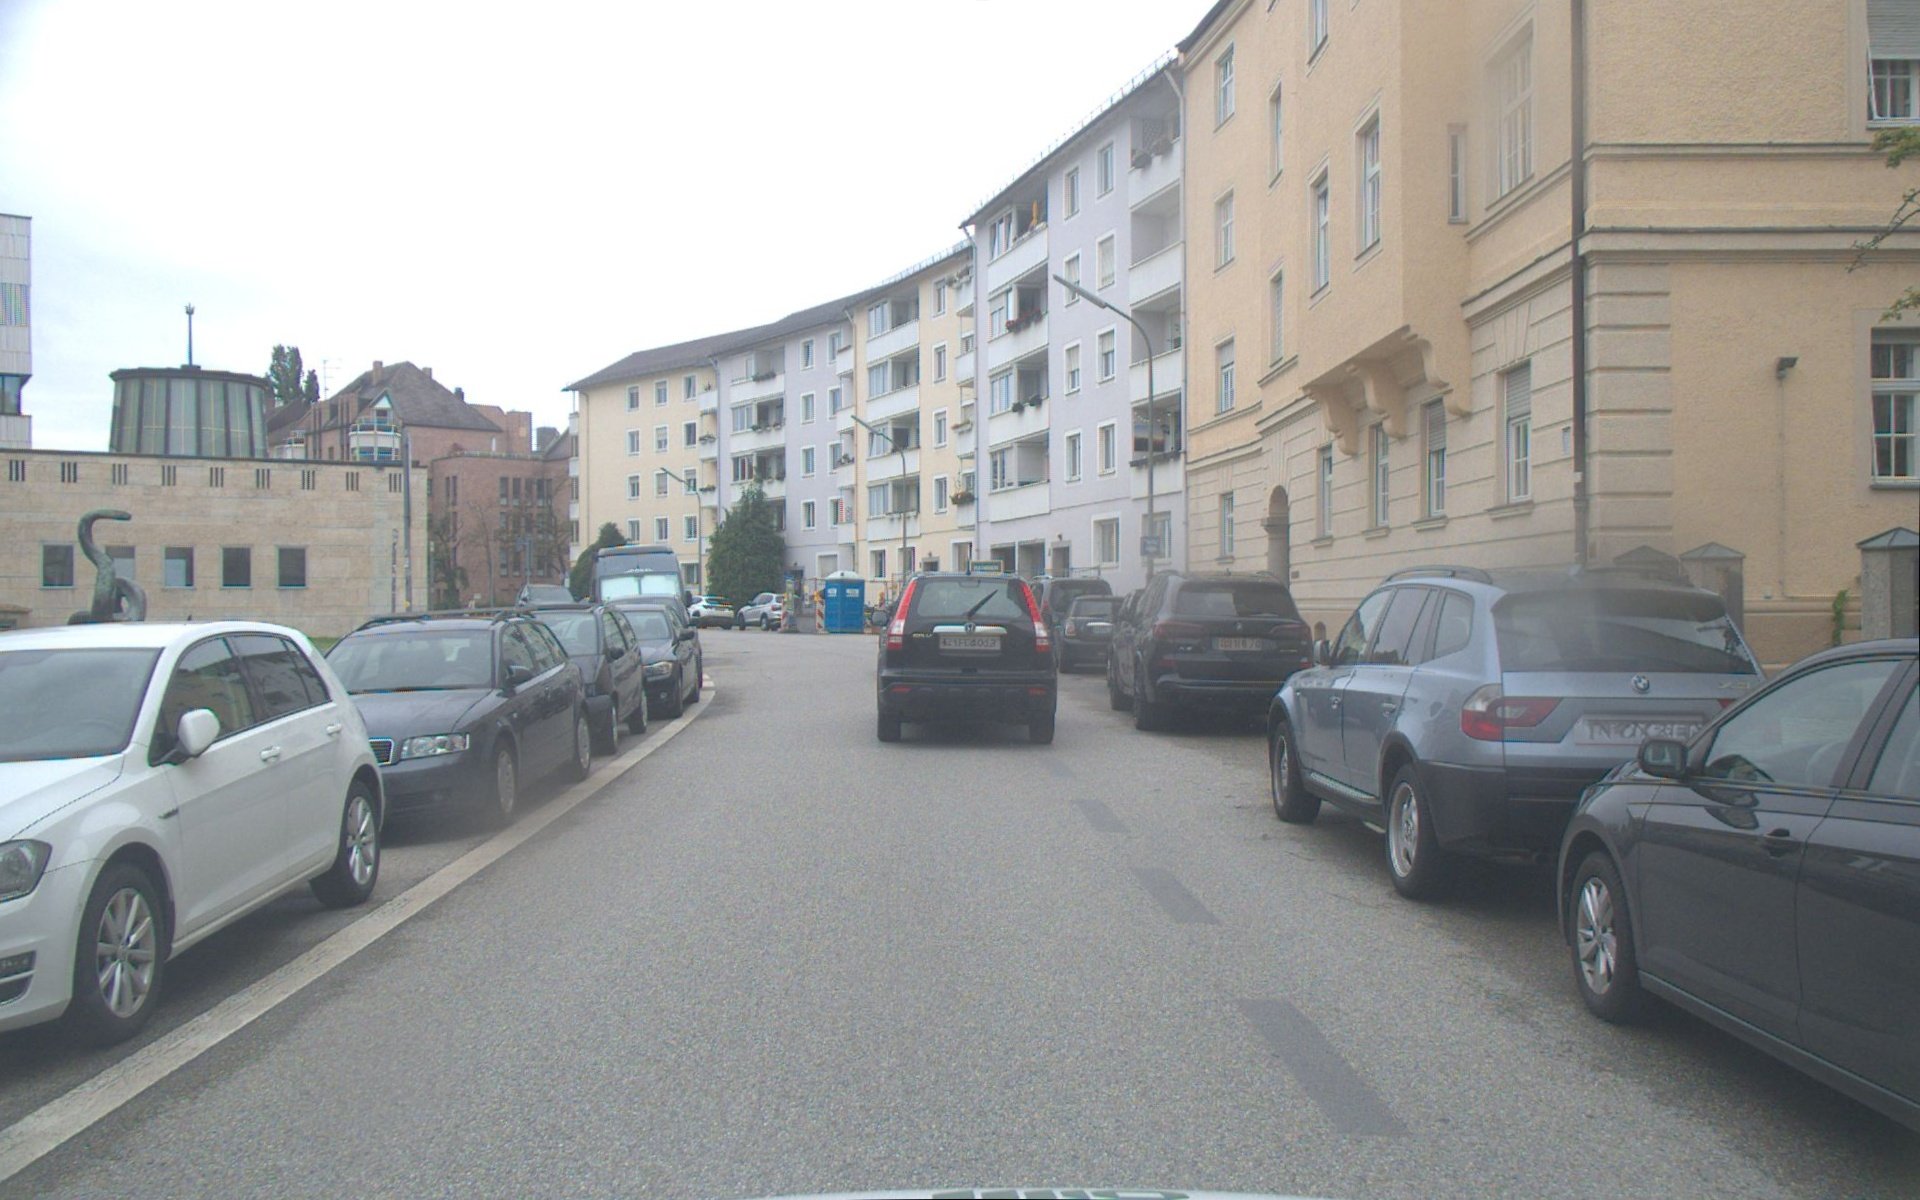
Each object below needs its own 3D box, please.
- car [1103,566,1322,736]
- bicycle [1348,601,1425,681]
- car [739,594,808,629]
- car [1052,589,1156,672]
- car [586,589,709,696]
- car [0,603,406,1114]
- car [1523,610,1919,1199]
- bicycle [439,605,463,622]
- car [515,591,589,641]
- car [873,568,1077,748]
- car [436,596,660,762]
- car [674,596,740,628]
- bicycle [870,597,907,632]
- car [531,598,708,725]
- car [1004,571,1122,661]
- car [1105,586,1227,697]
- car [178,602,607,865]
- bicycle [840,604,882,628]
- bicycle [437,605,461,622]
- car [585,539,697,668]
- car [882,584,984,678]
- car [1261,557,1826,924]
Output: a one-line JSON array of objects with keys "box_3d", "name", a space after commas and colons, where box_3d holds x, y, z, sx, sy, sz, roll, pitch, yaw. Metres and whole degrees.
[{"box_3d": [2.866, 0.536, 19.847, 1.831, 1.747, 4.865, 1, 0, 0], "name": "car"}, {"box_3d": [6.321, 0.586, 24.584, 0.567, 1.102, 1.953, -3, 0, -1], "name": "bicycle"}, {"box_3d": [-8.290, 0.504, 73.259, 1.705, 1.509, 3.963, 1, 0, -28], "name": "car"}, {"box_3d": [2.715, 0.558, 31.863, 1.673, 1.472, 3.830, 1, 0, 0], "name": "car"}, {"box_3d": [-4.874, 0.632, 26.102, 1.638, 1.528, 2.973, -2, 0, -6], "name": "car"}, {"box_3d": [-3.697, 0.788, 6.829, 1.624, 1.479, 4.070, -2, 0, -4], "name": "car"}, {"box_3d": [3.160, 0.767, 4.727, 1.645, 1.452, 4.086, 0, 0, -1], "name": "car"}, {"box_3d": [-38.751, 1.021, 125.933, 1.736, 1.311, 0.547, 0, 0, -32], "name": "bicycle"}, {"box_3d": [-14.814, 0.567, 59.914, 1.659, 1.737, 4.473, 0, 0, -27], "name": "car"}, {"box_3d": [0.041, 0.545, 17.470, 1.853, 1.676, 3.988, 0, 0, -4], "name": "car"}, {"box_3d": [-4.140, 0.731, 17.075, 1.624, 1.479, 3.310, -2, 0, -4], "name": "car"}, {"box_3d": [-12.597, 0.592, 82.082, 1.709, 1.509, 3.952, 1, 0, -34], "name": "car"}, {"box_3d": [-2.974, 0.579, 68.547, 0.953, 1.413, 2.552, 0, 0, -16], "name": "bicycle"}, {"box_3d": [-4.383, 0.726, 21.903, 1.764, 1.430, 4.450, -2, 0, -5], "name": "car"}, {"box_3d": [2.224, 0.336, 36.862, 1.745, 1.838, 4.267, 1, 0, -9], "name": "car"}, {"box_3d": [3.099, 0.599, 25.328, 1.503, 1.550, 3.111, 1, 0, 1], "name": "car"}, {"box_3d": [-3.835, 0.792, 12.024, 1.720, 1.479, 4.394, -2, 0, -2], "name": "car"}, {"box_3d": [-4.553, 0.726, 76.221, 1.840, 1.110, 0.561, 0, 0, -23], "name": "bicycle"}, {"box_3d": [-39.084, 1.047, 126.504, 1.736, 1.311, 0.547, 0, 0, -32], "name": "bicycle"}, {"box_3d": [-7.419, 0.053, 37.986, 2.128, 2.688, 5.994, -1, 1, -14], "name": "car"}, {"box_3d": [-0.532, 0.493, 28.625, 1.645, 1.507, 4.084, 0, 0, -3], "name": "car"}, {"box_3d": [3.057, 0.637, 9.736, 1.687, 1.663, 4.456, 0, 0, -1], "name": "car"}]
